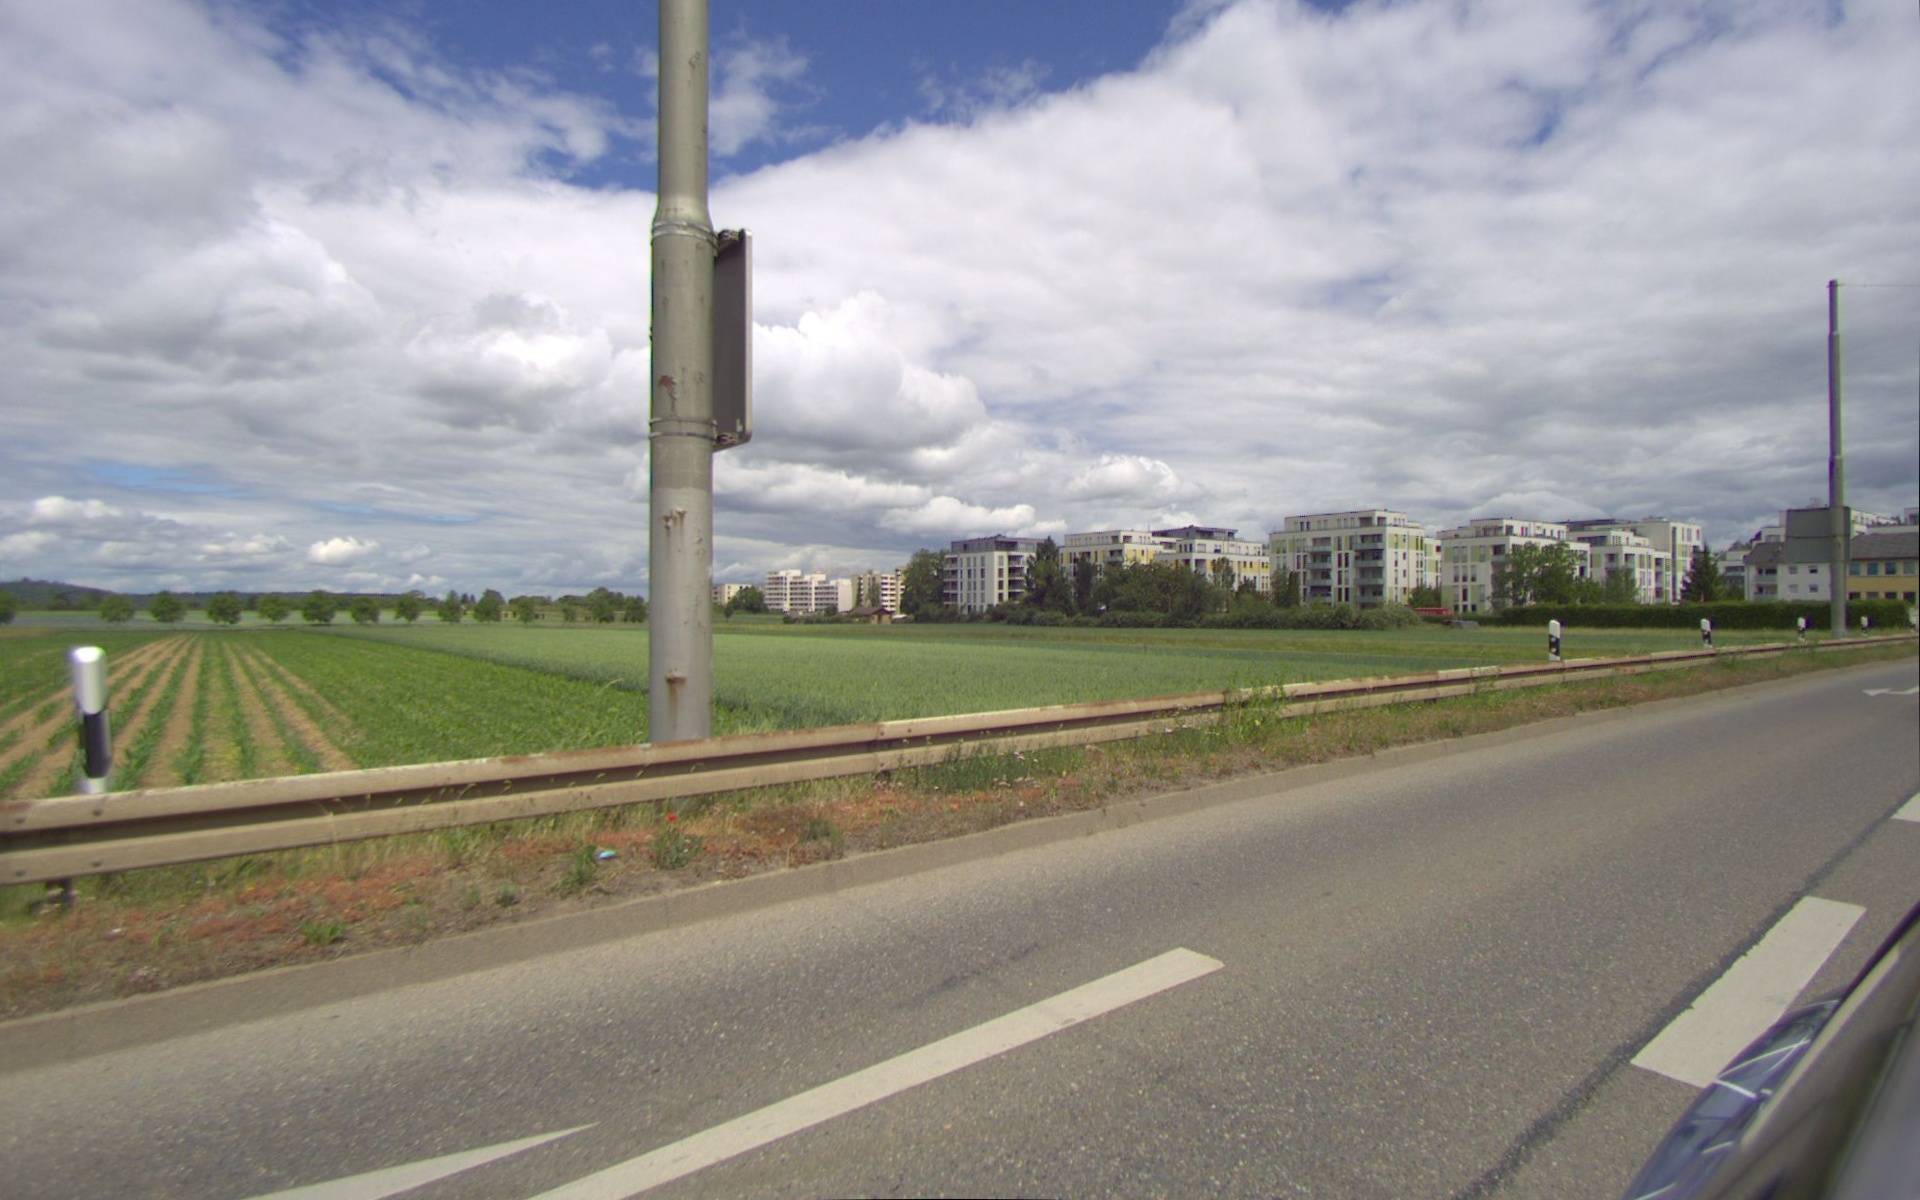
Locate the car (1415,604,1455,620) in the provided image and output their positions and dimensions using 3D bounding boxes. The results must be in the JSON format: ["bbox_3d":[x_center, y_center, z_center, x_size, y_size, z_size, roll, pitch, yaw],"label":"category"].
[{"bbox_3d":[64.694,1.598,137.887,1.964,2.039,4.435,0,0,-40],"label":"car"}]
